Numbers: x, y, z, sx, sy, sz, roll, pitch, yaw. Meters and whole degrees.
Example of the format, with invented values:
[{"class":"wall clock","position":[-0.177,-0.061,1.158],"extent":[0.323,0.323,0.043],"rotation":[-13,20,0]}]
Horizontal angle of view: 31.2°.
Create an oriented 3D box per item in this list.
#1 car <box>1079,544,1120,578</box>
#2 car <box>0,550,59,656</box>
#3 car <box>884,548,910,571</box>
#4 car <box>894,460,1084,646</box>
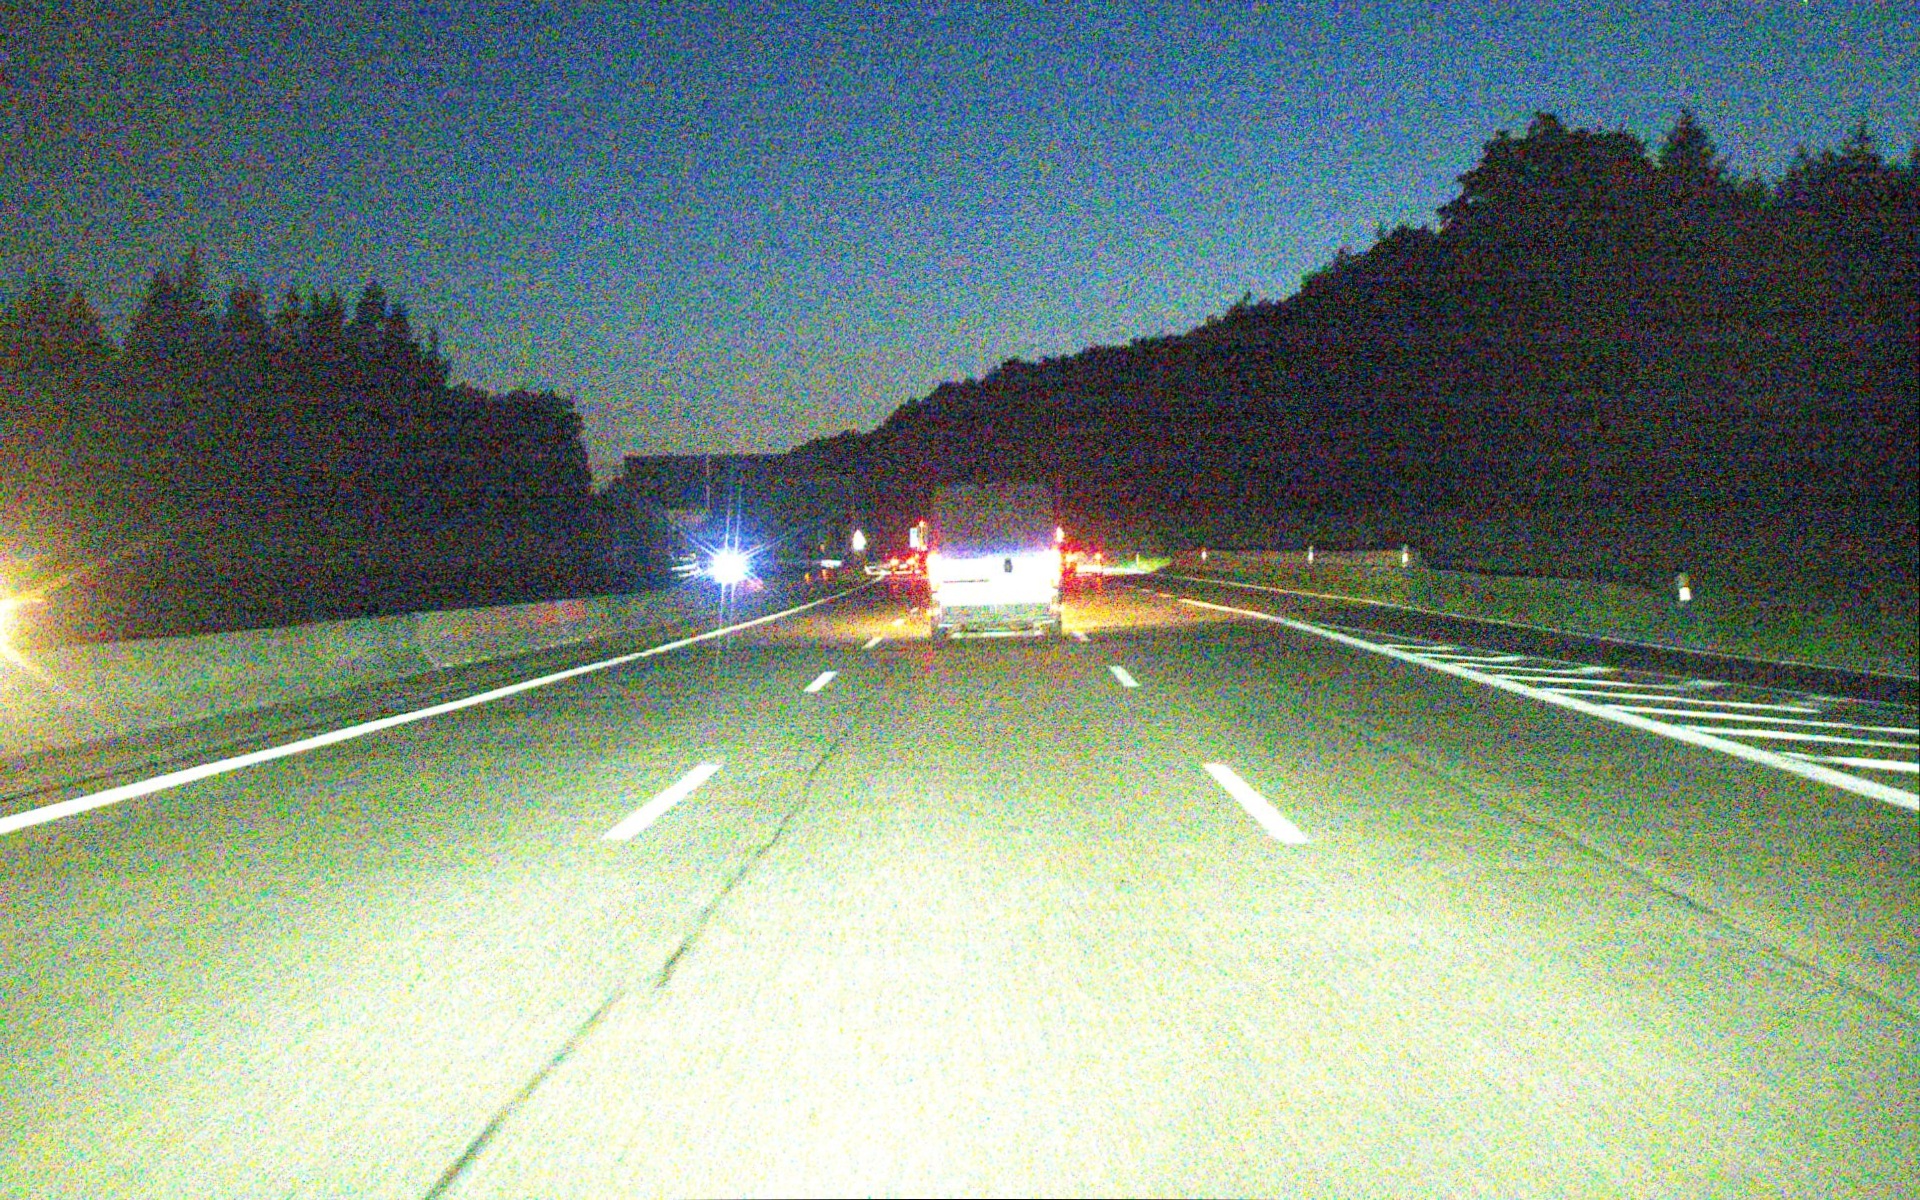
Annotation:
[{"class":"car","position":[6.918,-1.958,170.432],"extent":[1.843,1.634,4.000],"rotation":[0,1,0]},{"class":"car","position":[-18.870,0.054,65.430],"extent":[2.028,1.962,5.397],"rotation":[-1,1,0]},{"class":"car","position":[-4.645,-2.975,253.526],"extent":[1.843,1.634,4.000],"rotation":[0,1,0]},{"class":"car","position":[0.437,-0.739,54.322],"extent":[2.786,2.724,6.299],"rotation":[-1,1,0]}]
